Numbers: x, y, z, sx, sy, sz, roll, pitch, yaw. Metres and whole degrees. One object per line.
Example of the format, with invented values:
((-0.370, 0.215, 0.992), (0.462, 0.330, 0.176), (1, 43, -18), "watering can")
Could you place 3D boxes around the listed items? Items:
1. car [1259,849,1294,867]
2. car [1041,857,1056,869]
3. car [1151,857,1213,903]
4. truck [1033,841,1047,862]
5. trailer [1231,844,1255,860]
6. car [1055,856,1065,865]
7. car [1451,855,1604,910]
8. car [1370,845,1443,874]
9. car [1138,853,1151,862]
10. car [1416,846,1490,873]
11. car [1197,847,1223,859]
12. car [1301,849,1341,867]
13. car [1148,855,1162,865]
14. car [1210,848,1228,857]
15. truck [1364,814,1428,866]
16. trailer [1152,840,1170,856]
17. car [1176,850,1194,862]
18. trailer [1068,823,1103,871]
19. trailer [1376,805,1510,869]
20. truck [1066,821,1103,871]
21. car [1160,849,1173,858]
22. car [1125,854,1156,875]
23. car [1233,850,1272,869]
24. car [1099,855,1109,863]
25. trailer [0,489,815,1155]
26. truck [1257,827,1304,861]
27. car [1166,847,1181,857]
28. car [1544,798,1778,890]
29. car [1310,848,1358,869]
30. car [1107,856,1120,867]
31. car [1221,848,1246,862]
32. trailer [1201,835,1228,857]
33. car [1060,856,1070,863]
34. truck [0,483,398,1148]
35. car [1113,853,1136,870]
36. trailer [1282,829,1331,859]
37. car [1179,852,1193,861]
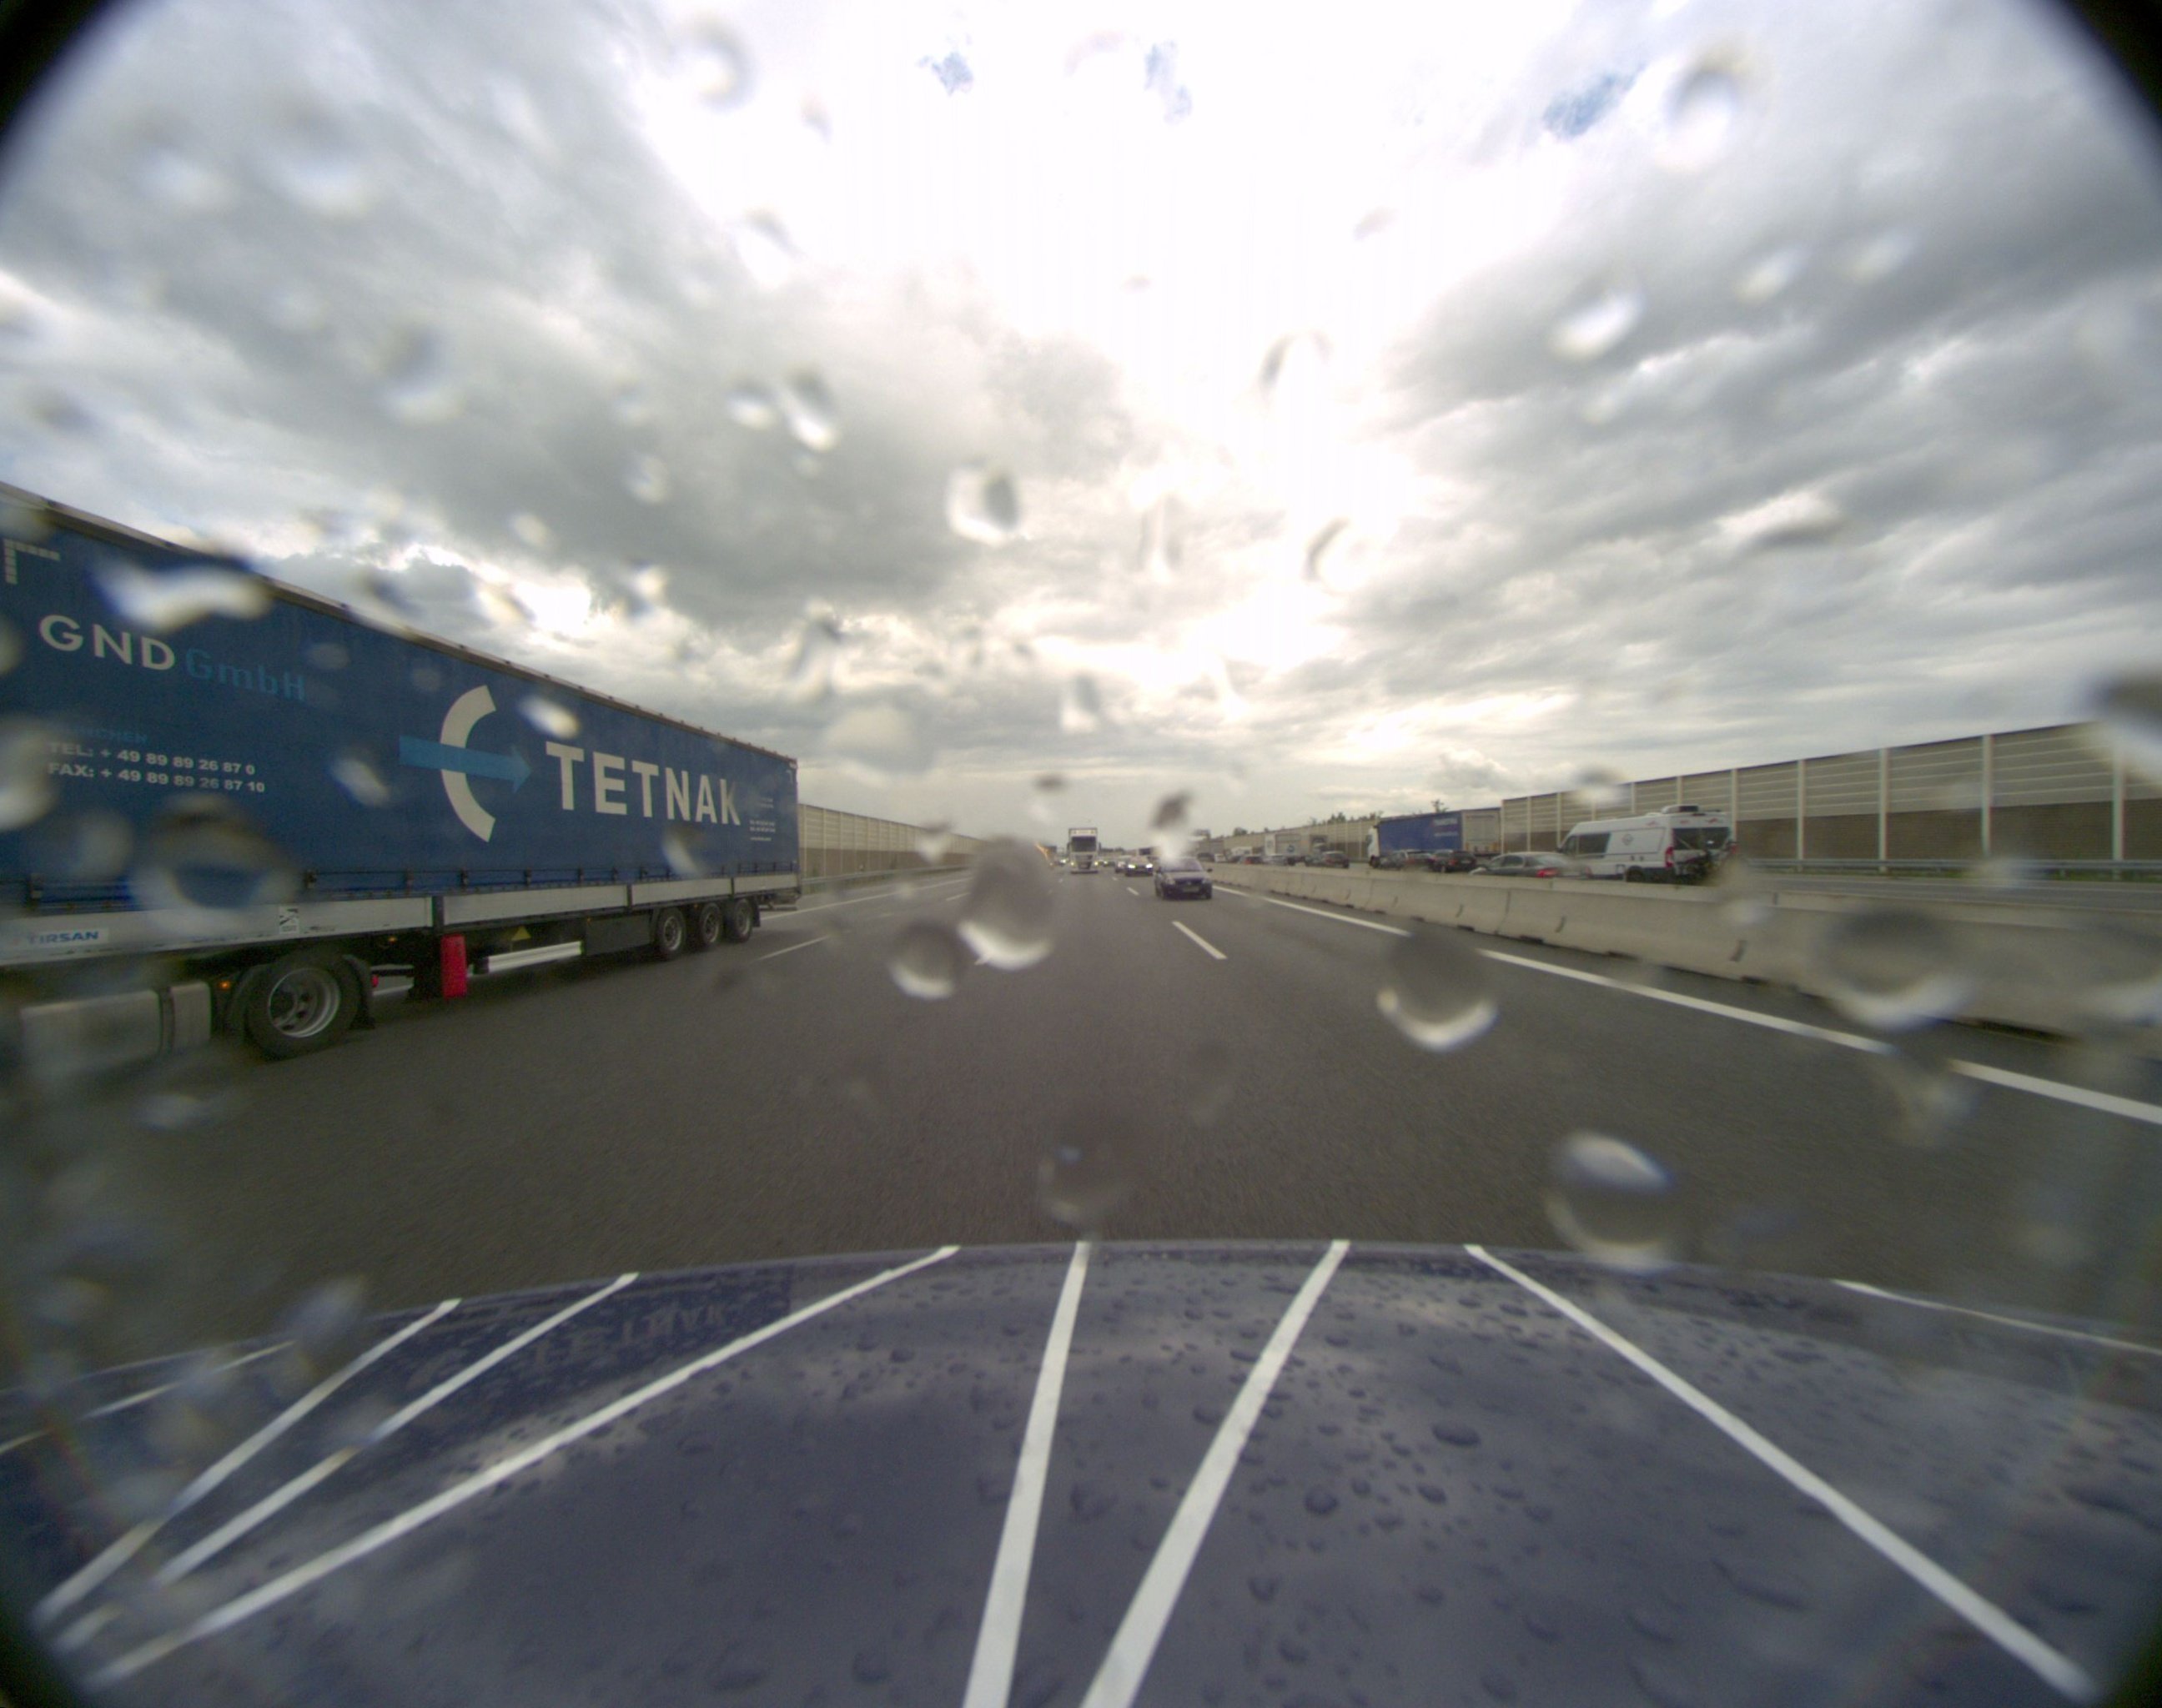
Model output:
((18.479, 0.364, 72.079), (2.065, 1.590, 4.996), (-1, 1, 0), "car")
((-4.006, 1.136, 94.524), (1.698, 1.395, 3.999), (-1, 0, -1), "car")
((3.394, 0.849, 26.165), (1.578, 1.395, 4.000), (-1, 0, 0), "car")
((-8.528, -0.528, 158.210), (2.600, 4.088, 11.369), (-1, 0, -2), "truck")
((25.967, -0.323, 122.050), (2.465, 2.480, 6.085), (-1, 0, 0), "trailer")
((-3.459, 1.109, 126.863), (1.498, 1.395, 4.000), (-1, 0, 0), "car")
((13.971, 0.814, 24.223), (2.065, 1.482, 4.997), (-1, 1, 2), "car")
((18.091, 0.255, 42.485), (2.065, 1.482, 4.997), (-1, 1, 2), "car")
((12.679, 0.706, 151.256), (1.961, 1.689, 4.892), (-1, 0, -2), "car")
((22.158, 0.263, 45.489), (2.065, 1.482, 4.997), (-1, 1, 2), "car")
((14.422, -0.095, 85.403), (1.878, 1.291, 5.599), (-1, 0, -1), "car")
((21.904, 0.344, 69.670), (2.065, 1.590, 4.996), (-1, 1, 0), "car")
((13.365, 1.082, 137.312), (1.961, 1.689, 4.410), (-1, 0, -2), "car")
((22.363, -0.253, 123.205), (2.065, 1.482, 4.997), (-1, 1, 1), "car")
((25.773, -1.067, 62.405), (2.752, 4.011, 5.725), (-1, 0, 0), "truck")
((20.453, -1.431, 195.533), (2.768, 4.008, 14.450), (-1, 0, -1), "trailer")
((14.666, 0.266, 107.371), (1.878, 1.689, 4.221), (-1, 0, -1), "car")
((0.565, -0.659, 74.565), (2.925, 4.188, 13.197), (-2, 0, 2), "trailer")
((25.823, -1.065, 55.566), (2.768, 4.008, 14.451), (-1, 0, 0), "trailer")
((0.394, -0.693, 68.272), (2.913, 4.146, 5.193), (-3, 0, 2), "truck")
((17.871, -0.032, 159.113), (2.066, 1.805, 4.777), (-1, 0, -2), "car")
((4.247, 0.725, 54.590), (1.776, 1.451, 4.480), (-1, 0, 0), "car")
((14.487, 0.439, 64.475), (2.065, 1.482, 4.996), (-1, 1, -1), "car")
((3.901, 0.849, 127.536), (1.498, 1.395, 4.000), (-1, 0, 0), "car")
((-7.928, -0.180, 11.428), (2.768, 4.008, 14.451), (-1, 0, 0), "trailer")
((22.445, -1.106, 85.957), (2.703, 3.506, 9.995), (-2, 0, 1), "truck")
((17.716, -0.336, 146.114), (2.066, 1.805, 5.113), (-1, 0, -2), "car")
((18.418, -0.305, 24.836), (2.389, 2.535, 7.087), (-1, 0, 2), "car")
((18.844, 0.283, 56.797), (2.065, 1.482, 4.997), (-1, 1, 2), "car")
((4.316, 1.038, 102.508), (1.498, 1.395, 4.000), (-1, 0, 0), "car")
((18.191, 0.126, 90.975), (1.878, 1.689, 5.015), (-1, 0, -1), "car")
((26.260, -1.527, 150.496), (2.768, 4.008, 14.452), (-1, 0, 0), "trailer")
((-3.282, 1.040, 154.172), (1.698, 1.395, 4.000), (-1, 0, 2), "car")
((-7.888, -0.214, 4.303), (2.752, 4.011, 5.725), (-1, 0, 0), "truck")
((3.737, 0.602, 66.087), (1.732, 1.395, 4.000), (-1, 0, 0), "car")
((33.125, -1.377, 112.294), (2.943, 4.008, 13.859), (-1, 0, 0), "trailer")
((20.811, 0.441, 150.595), (1.961, 1.689, 4.410), (-1, 0, -2), "car")
